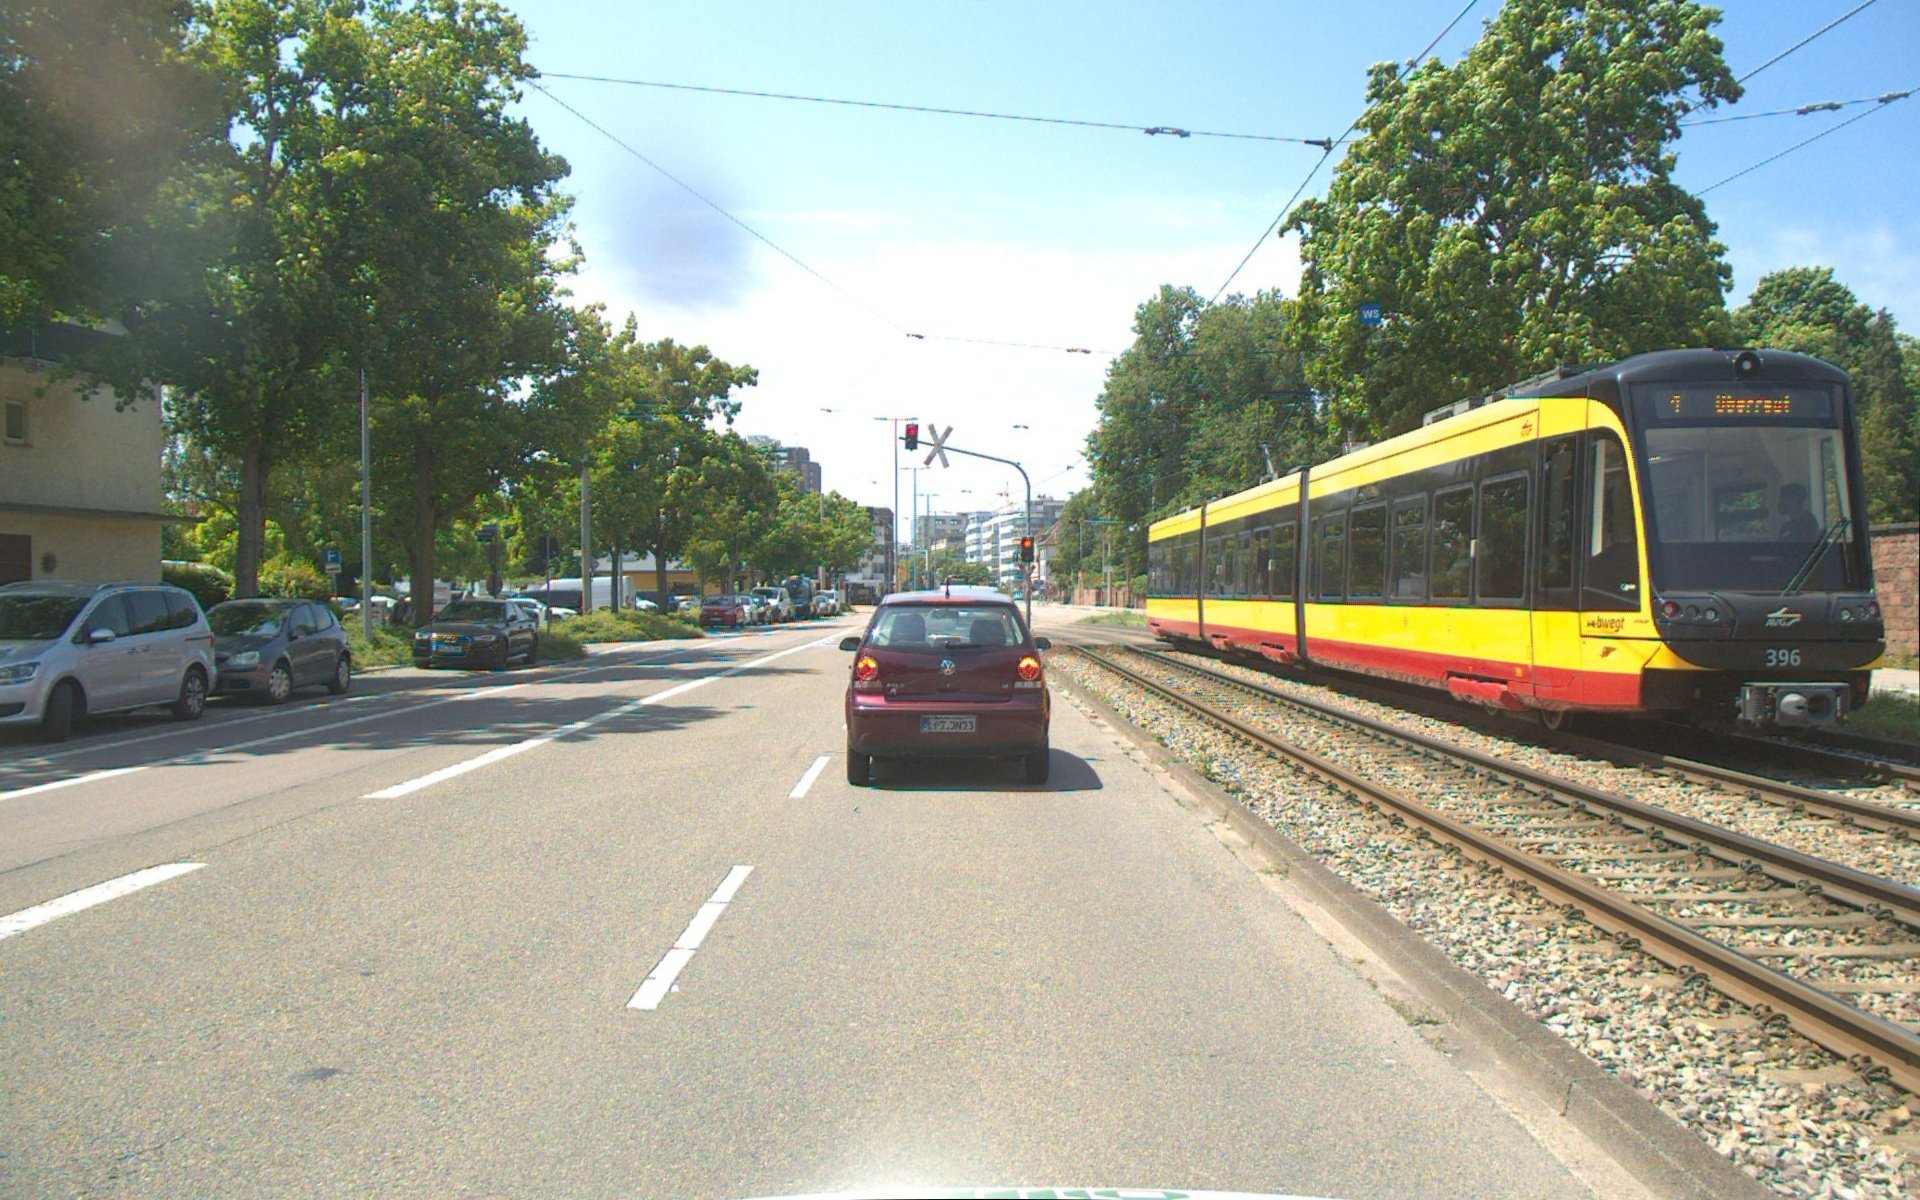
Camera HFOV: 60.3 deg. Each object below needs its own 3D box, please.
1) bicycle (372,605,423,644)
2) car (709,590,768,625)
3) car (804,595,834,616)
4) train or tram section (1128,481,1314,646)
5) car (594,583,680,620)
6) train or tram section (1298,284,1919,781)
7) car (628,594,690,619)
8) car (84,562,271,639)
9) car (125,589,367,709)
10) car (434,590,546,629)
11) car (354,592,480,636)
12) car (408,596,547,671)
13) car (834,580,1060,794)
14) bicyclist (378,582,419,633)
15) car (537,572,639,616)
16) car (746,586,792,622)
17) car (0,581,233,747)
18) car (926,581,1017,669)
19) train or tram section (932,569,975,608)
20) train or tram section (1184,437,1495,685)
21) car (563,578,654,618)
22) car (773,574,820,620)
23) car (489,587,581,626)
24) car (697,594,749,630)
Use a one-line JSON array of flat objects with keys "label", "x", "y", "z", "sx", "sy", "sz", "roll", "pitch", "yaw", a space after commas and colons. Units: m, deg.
[{"label": "bicycle", "x": -15.634, "y": 0.668, "z": 46.013, "sx": 0.686, "sy": 1.047, "sz": 1.829, "roll": 1, "pitch": -1, "yaw": 3}, {"label": "car", "x": -10.771, "y": 0.370, "z": 80.599, "sx": 1.934, "sy": 1.629, "sz": 4.560, "roll": 1, "pitch": -1, "yaw": 4}, {"label": "car", "x": -10.321, "y": 0.419, "z": 121.298, "sx": 1.581, "sy": 1.466, "sz": 4.001, "roll": 1, "pitch": -1, "yaw": 3}, {"label": "train or tram section", "x": 6.796, "y": -0.901, "z": 45.360, "sx": 2.966, "sy": 3.864, "sz": 12.758, "roll": 0, "pitch": 0, "yaw": -1}, {"label": "car", "x": -20.904, "y": 0.111, "z": 107.261, "sx": 4.992, "sy": 2.284, "sz": 2.378, "roll": 2, "pitch": -1, "yaw": 0}, {"label": "train or tram section", "x": 6.872, "y": -0.578, "z": 19.482, "sx": 2.966, "sy": 3.864, "sz": 13.088, "roll": 0, "pitch": 0, "yaw": -1}, {"label": "car", "x": -20.800, "y": 0.448, "z": 114.352, "sx": 3.937, "sy": 1.645, "sz": 1.816, "roll": 2, "pitch": -1, "yaw": 0}, {"label": "car", "x": -33.179, "y": 0.022, "z": 70.301, "sx": 6.713, "sy": 3.017, "sz": 2.363, "roll": 2, "pitch": -1, "yaw": -2}, {"label": "car", "x": -10.411, "y": 0.653, "z": 24.474, "sx": 1.781, "sy": 1.592, "sz": 4.180, "roll": 1, "pitch": 0, "yaw": -1}, {"label": "car", "x": -20.435, "y": 0.423, "z": 72.009, "sx": 4.251, "sy": 1.612, "sz": 1.914, "roll": -1, "pitch": 0, "yaw": 6}, {"label": "car", "x": -21.027, "y": 0.539, "z": 64.193, "sx": 4.256, "sy": 1.612, "sz": 1.912, "roll": -1, "pitch": 0, "yaw": -3}, {"label": "car", "x": -10.502, "y": 0.685, "z": 36.302, "sx": 1.781, "sy": 1.502, "sz": 4.448, "roll": 1, "pitch": 0, "yaw": -1}, {"label": "car", "x": -0.137, "y": 0.630, "z": 14.178, "sx": 1.638, "sy": 1.548, "sz": 3.999, "roll": 1, "pitch": 0, "yaw": -1}, {"label": "bicyclist", "x": -15.626, "y": 0.216, "z": 46.014, "sx": 0.792, "sy": 1.398, "sz": 0.828, "roll": 1, "pitch": -1, "yaw": 2}, {"label": "car", "x": -20.364, "y": -0.314, "z": 90.694, "sx": 4.992, "sy": 2.284, "sz": 2.378, "roll": 2, "pitch": -1, "yaw": 0}, {"label": "car", "x": -10.445, "y": 0.232, "z": 90.842, "sx": 1.746, "sy": 1.914, "sz": 4.787, "roll": 1, "pitch": -1, "yaw": 2}, {"label": "car", "x": -10.424, "y": 0.629, "z": 19.293, "sx": 1.834, "sy": 1.693, "sz": 4.780, "roll": 0, "pitch": 1, "yaw": -1}, {"label": "car", "x": 0.181, "y": 0.478, "z": 34.413, "sx": 1.741, "sy": 1.676, "sz": 3.999, "roll": 1, "pitch": 0, "yaw": -1}, {"label": "train or tram section", "x": -0.763, "y": -1.175, "z": 164.428, "sx": 2.689, "sy": 3.672, "sz": 12.849, "roll": 1, "pitch": 0, "yaw": -7}, {"label": "train or tram section", "x": 6.853, "y": -0.659, "z": 32.536, "sx": 2.966, "sy": 3.864, "sz": 13.088, "roll": 0, "pitch": 0, "yaw": -1}, {"label": "car", "x": -21.617, "y": -0.096, "z": 101.808, "sx": 4.992, "sy": 2.284, "sz": 2.378, "roll": 2, "pitch": -1, "yaw": 0}, {"label": "car", "x": -10.255, "y": -0.136, "z": 103.888, "sx": 2.313, "sy": 2.739, "sz": 5.307, "roll": 2, "pitch": -1, "yaw": 0}, {"label": "car", "x": -20.547, "y": 0.317, "z": 80.041, "sx": 3.906, "sy": 1.776, "sz": 1.998, "roll": -1, "pitch": 0, "yaw": -2}, {"label": "car", "x": -10.600, "y": 0.524, "z": 74.051, "sx": 1.628, "sy": 1.523, "sz": 4.000, "roll": 2, "pitch": -1, "yaw": 1}]
